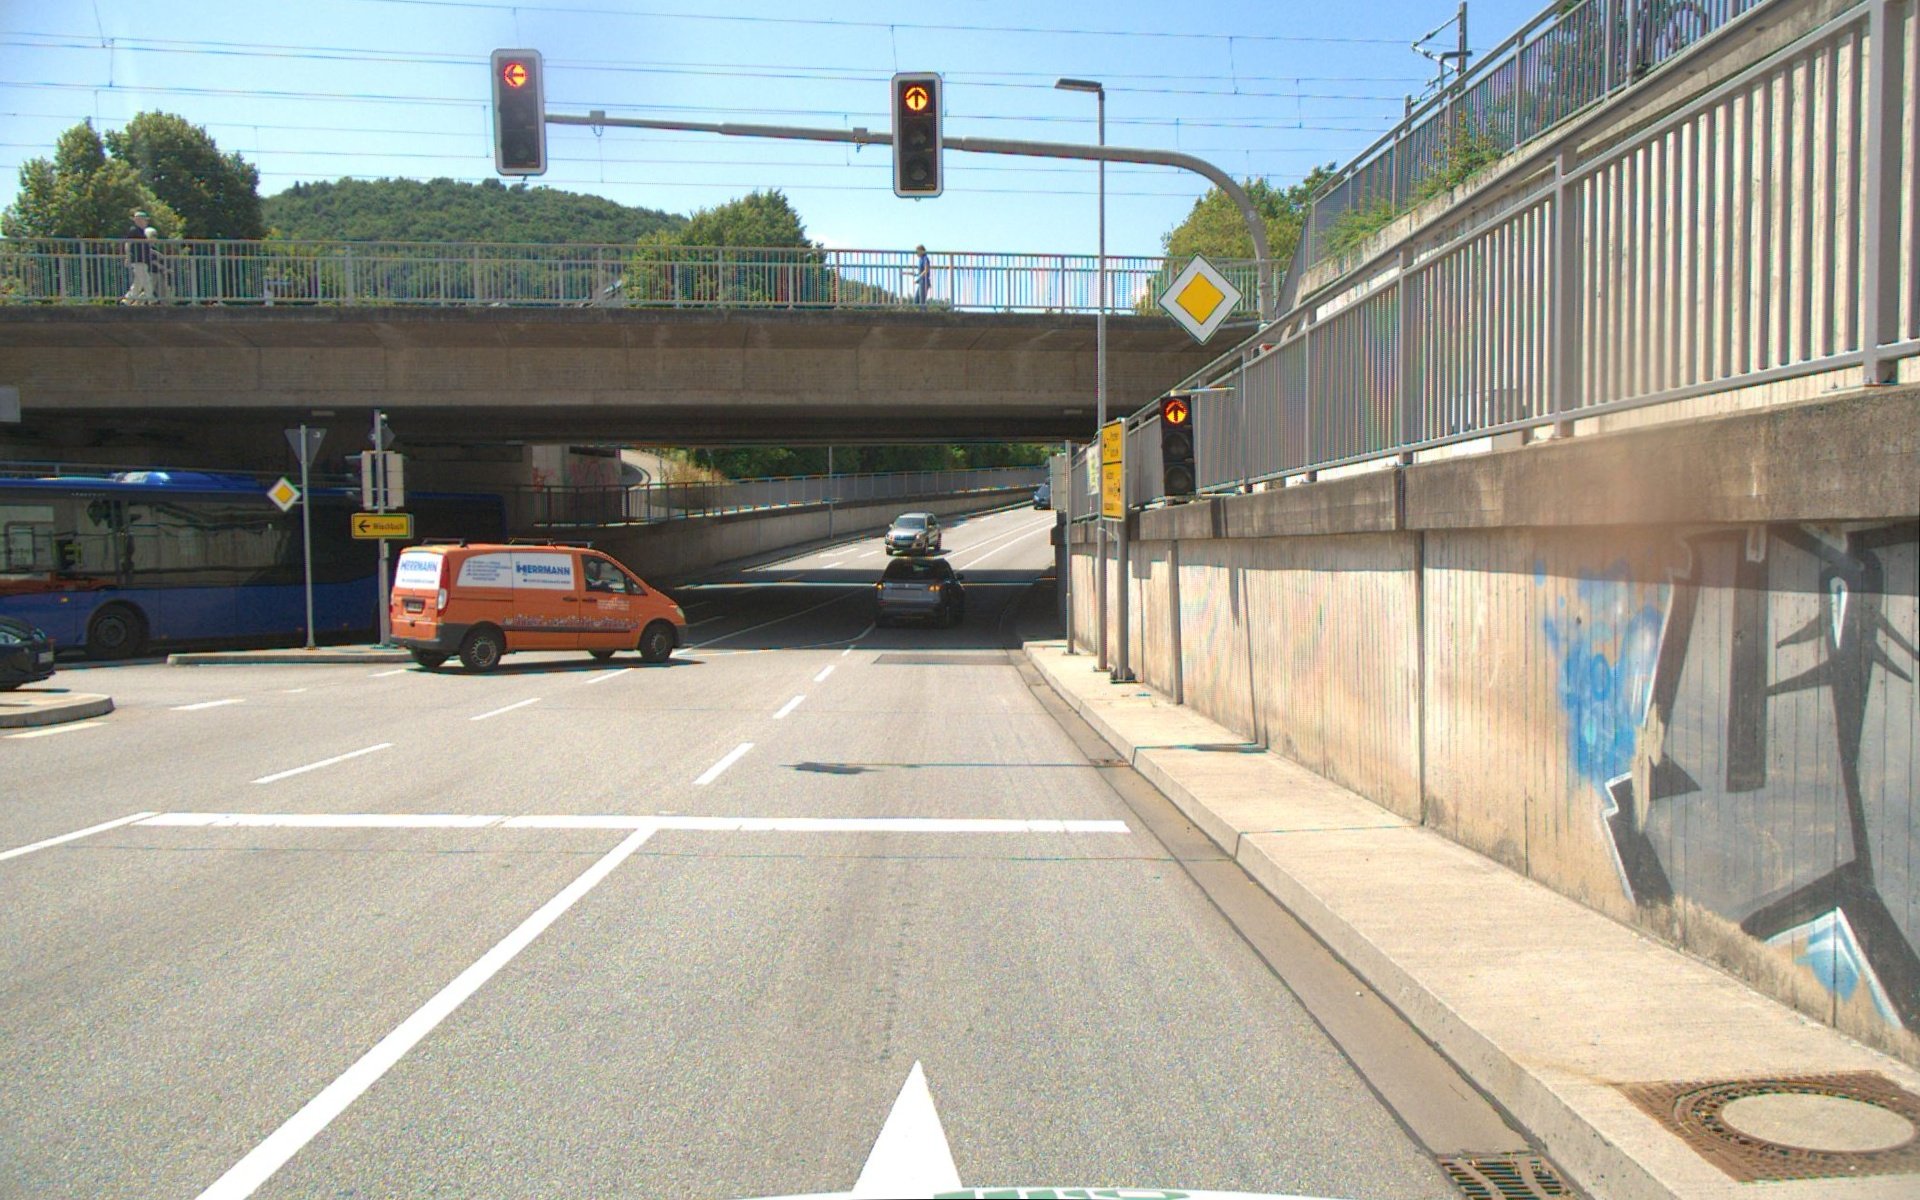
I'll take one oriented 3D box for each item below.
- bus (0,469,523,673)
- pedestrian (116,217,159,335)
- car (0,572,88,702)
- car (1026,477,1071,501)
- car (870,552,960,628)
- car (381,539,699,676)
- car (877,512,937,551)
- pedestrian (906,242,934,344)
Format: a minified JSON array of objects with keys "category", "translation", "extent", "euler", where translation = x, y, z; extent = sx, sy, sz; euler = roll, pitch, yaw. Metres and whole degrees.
[{"category":"bus","translation":[-13.690,-0.743,31.620],"extent":[2.532,3.227,12.361],"euler":[1,3,28]},{"category":"pedestrian","translation":[-15.501,-6.092,31.177],"extent":[0.566,2.117,0.534],"euler":[-1,1,-11]},{"category":"car","translation":[-13.595,0.451,21.062],"extent":[3.911,1.534,1.998],"euler":[0,2,-7]},{"category":"car","translation":[5.585,-6.978,103.943],"extent":[1.745,1.461,4.002],"euler":[1,3,20]},{"category":"car","translation":[-1.021,-0.289,39.604],"extent":[1.766,1.646,4.003],"euler":[0,3,4]},{"category":"car","translation":[-6.692,0.027,26.710],"extent":[4.681,1.965,1.850],"euler":[-3,4,-43]},{"category":"car","translation":[-2.257,-3.002,71.752],"extent":[1.951,1.655,4.005],"euler":[0,3,7]},{"category":"pedestrian","translation":[-0.876,-6.663,35.984],"extent":[0.529,2.117,0.534],"euler":[-1,1,-8]}]
